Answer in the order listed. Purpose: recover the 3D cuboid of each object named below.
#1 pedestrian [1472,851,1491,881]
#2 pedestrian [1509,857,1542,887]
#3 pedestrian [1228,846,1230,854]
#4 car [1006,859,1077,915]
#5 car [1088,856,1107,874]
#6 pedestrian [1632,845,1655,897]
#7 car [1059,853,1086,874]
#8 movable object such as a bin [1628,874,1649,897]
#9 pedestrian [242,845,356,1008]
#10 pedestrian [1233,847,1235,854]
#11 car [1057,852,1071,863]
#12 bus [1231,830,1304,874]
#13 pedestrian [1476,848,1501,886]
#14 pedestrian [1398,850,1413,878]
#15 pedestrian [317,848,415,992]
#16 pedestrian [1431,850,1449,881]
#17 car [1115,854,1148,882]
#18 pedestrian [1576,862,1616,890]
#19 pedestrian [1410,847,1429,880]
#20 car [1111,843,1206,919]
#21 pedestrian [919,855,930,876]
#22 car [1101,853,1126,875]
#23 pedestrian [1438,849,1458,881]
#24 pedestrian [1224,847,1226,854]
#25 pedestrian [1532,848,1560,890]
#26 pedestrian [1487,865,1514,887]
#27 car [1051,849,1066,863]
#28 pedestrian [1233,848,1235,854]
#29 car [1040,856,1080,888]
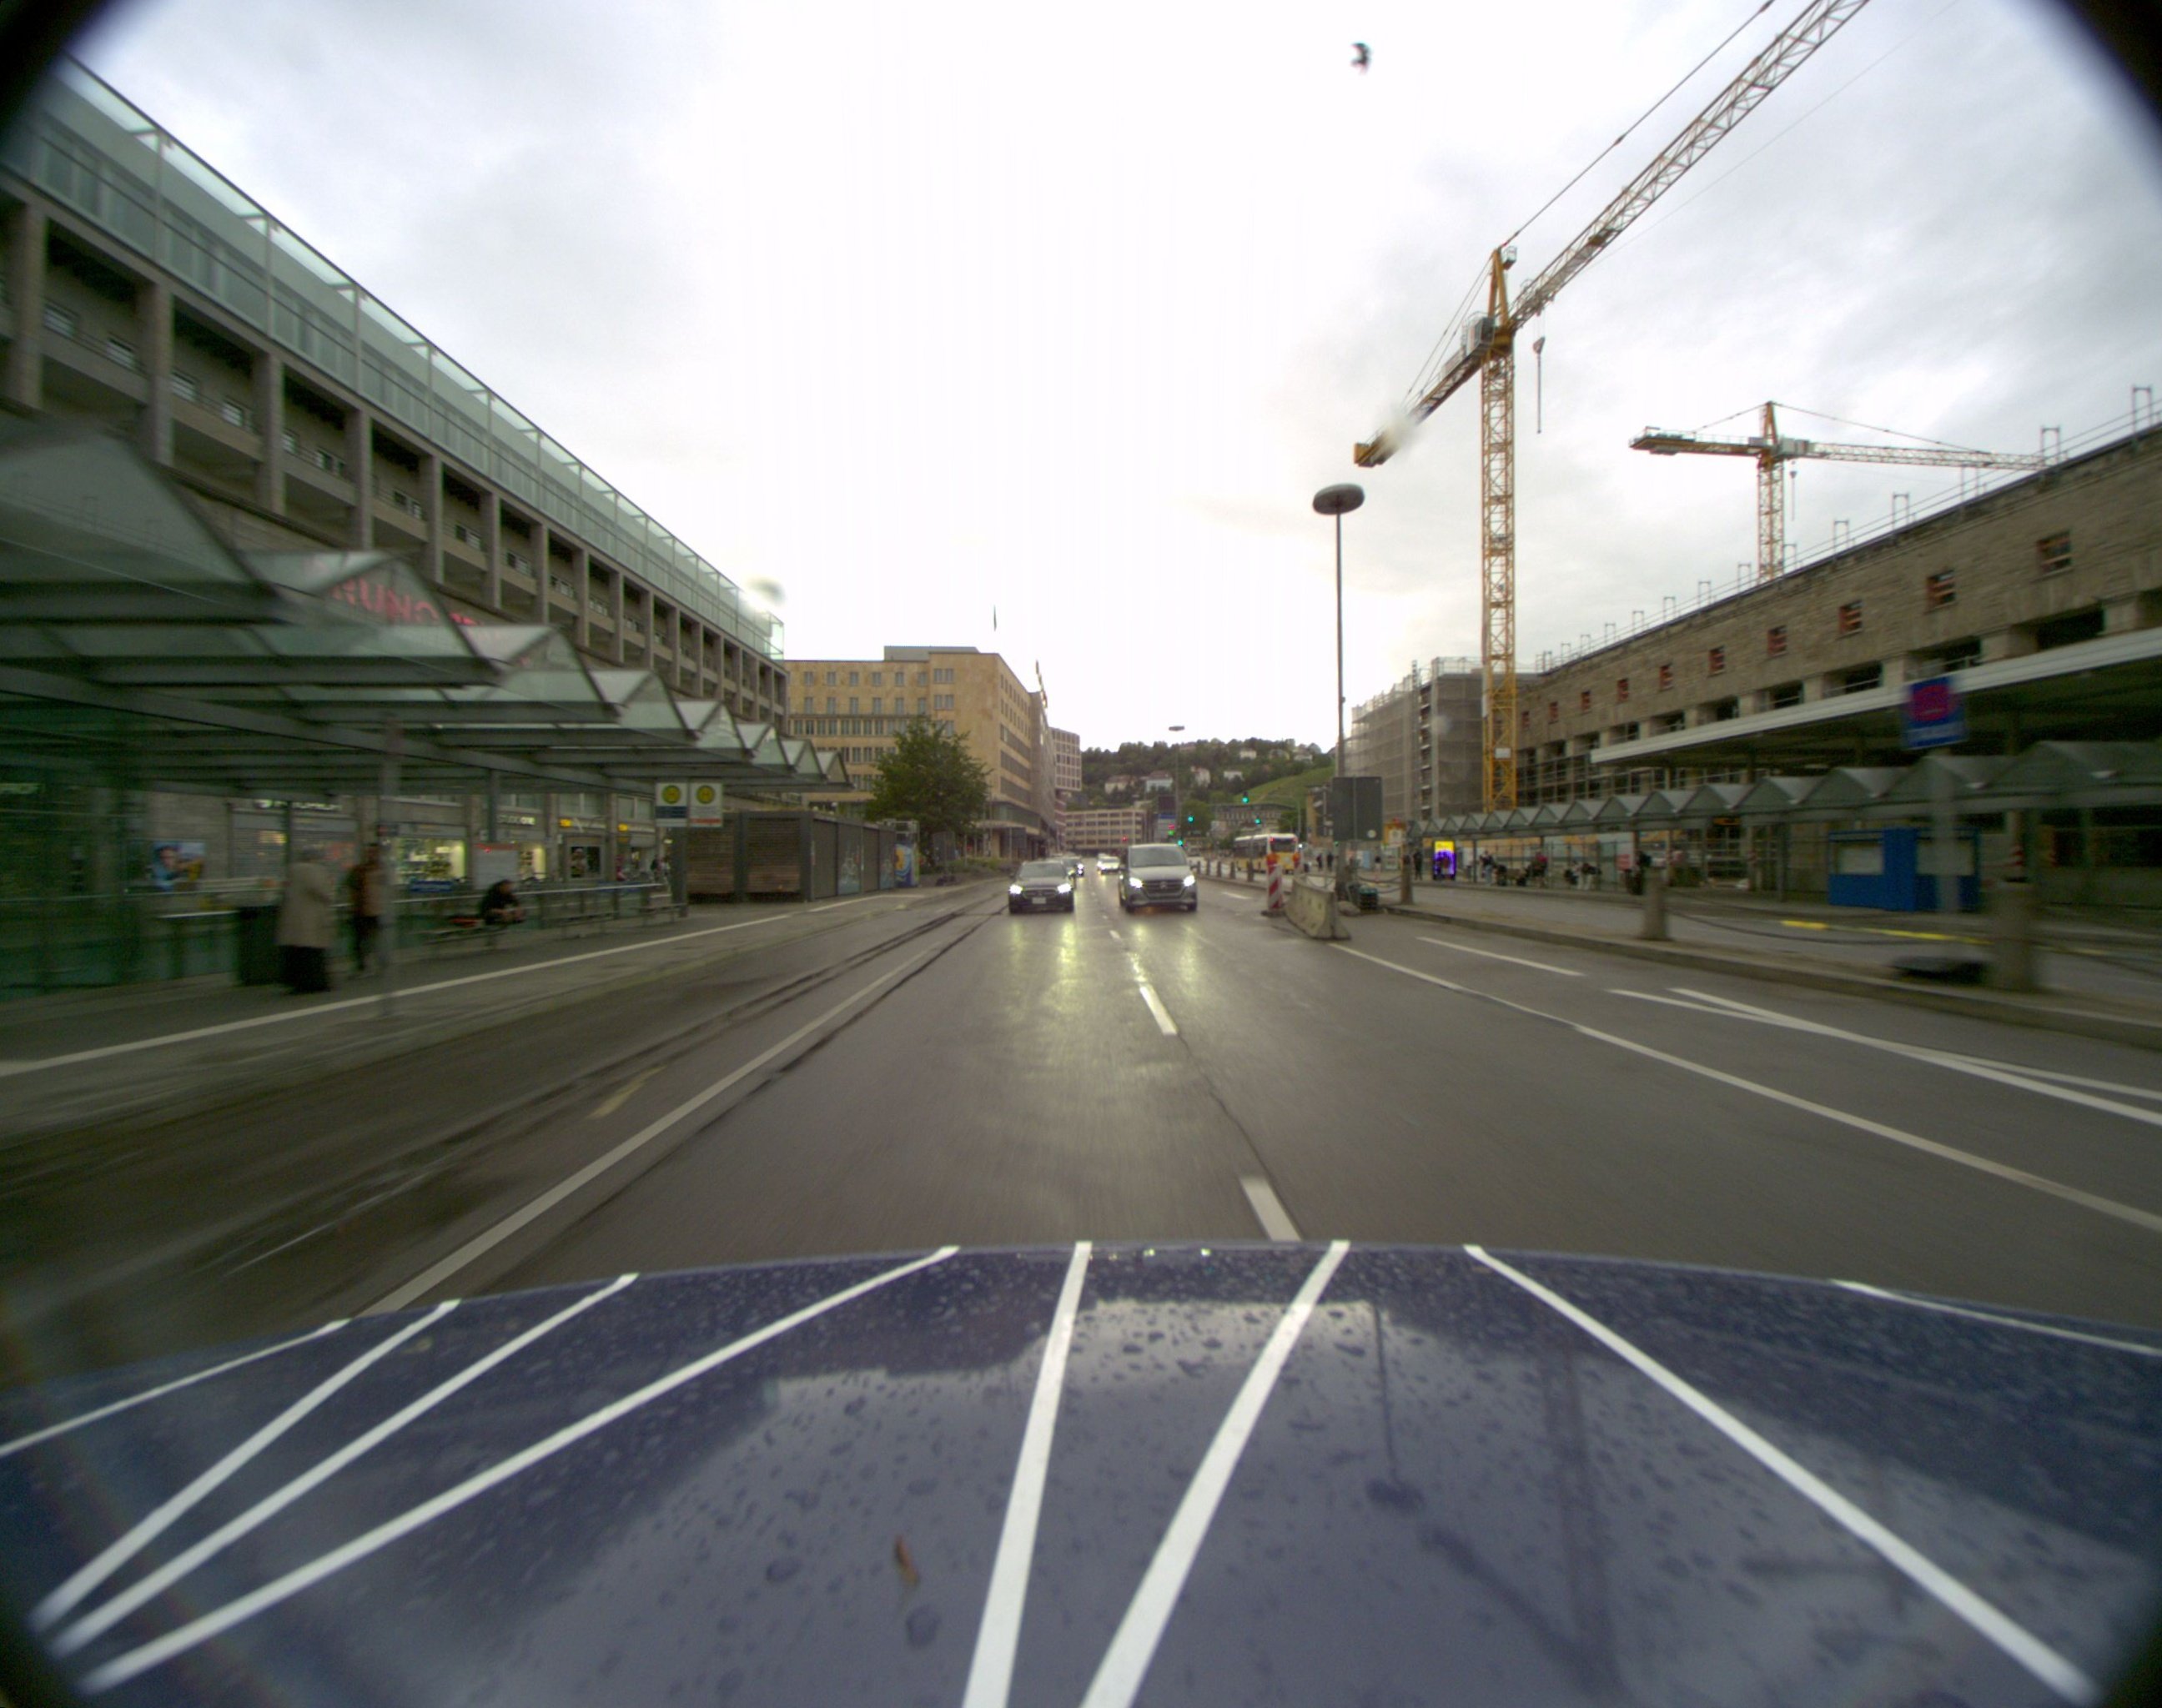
[{"bbox_3d":[22.180,0.673,42.078,0.557,1.621,0.804,-1,1,-9],"label":"pedestrian"},{"bbox_3d":[21.480,0.873,36.735,1.057,1.424,0.831,-1,1,-2],"label":"pedestrian"},{"bbox_3d":[31.827,-0.841,163.139,0.375,1.606,0.357,-1,1,1],"label":"pedestrian"},{"bbox_3d":[-1.116,0.927,23.424,1.823,1.455,4.700,-2,0,1],"label":"car"},{"bbox_3d":[1.715,1.144,81.450,1.872,1.715,3.901,-2,1,0],"label":"car"},{"bbox_3d":[20.367,0.599,27.505,0.679,1.837,0.556,-2,1,-45],"label":"pedestrian"},{"bbox_3d":[-0.624,0.721,60.522,1.998,1.548,3.908,-1,0,1],"label":"car"},{"bbox_3d":[19.868,1.118,27.088,0.510,0.785,0.635,1,1,45],"label":"movable object such as a bin"},{"bbox_3d":[-9.051,0.815,8.816,0.677,1.826,0.574,-1,1,1],"label":"pedestrian"},{"bbox_3d":[31.137,-0.687,154.446,0.438,1.344,0.413,-1,1,10],"label":"pedestrian"},{"bbox_3d":[-2.576,0.545,115.335,1.998,1.644,5.135,-1,0,1],"label":"car"},{"bbox_3d":[17.324,-0.222,72.333,2.916,3.557,19.079,0,0,2],"label":"bus"},{"bbox_3d":[19.486,0.627,36.305,0.777,1.780,0.861,-1,1,7],"label":"pedestrian"},{"bbox_3d":[20.730,0.636,48.544,0.700,1.780,0.795,-1,1,12],"label":"pedestrian"},{"bbox_3d":[-9.370,0.841,9.978,0.629,1.826,0.641,-1,1,2],"label":"pedestrian"},{"bbox_3d":[20.744,0.669,43.920,0.557,1.780,0.804,-1,1,-9],"label":"pedestrian"},{"bbox_3d":[2.976,0.799,45.158,1.709,1.485,3.670,-2,1,0],"label":"car"},{"bbox_3d":[21.651,0.915,31.960,0.952,1.151,1.055,-1,0,0],"label":"pedestrian"},{"bbox_3d":[20.122,0.545,45.199,0.761,1.947,0.822,-1,1,-3],"label":"pedestrian"},{"bbox_3d":[2.113,0.684,22.257,1.999,1.893,5.249,-2,0,-2],"label":"car"},{"bbox_3d":[-13.131,0.961,63.793,0.699,1.741,0.837,-1,1,-2],"label":"pedestrian"},{"bbox_3d":[2.714,0.833,64.888,1.872,1.747,3.901,-2,1,0],"label":"car"},{"bbox_3d":[20.442,0.611,42.317,0.726,1.780,0.747,-1,1,-6],"label":"pedestrian"},{"bbox_3d":[33.926,-0.830,178.560,0.438,1.492,0.414,-1,1,14],"label":"pedestrian"},{"bbox_3d":[20.173,0.645,32.966,0.673,1.780,0.781,-1,1,-30],"label":"pedestrian"},{"bbox_3d":[21.402,1.095,38.754,0.846,1.087,0.926,-1,0,-2],"label":"pedestrian"},{"bbox_3d":[-3.190,0.291,108.416,1.998,1.873,4.997,-1,0,1],"label":"car"},{"bbox_3d":[32.782,-0.663,162.873,0.438,1.233,0.413,-1,1,4],"label":"pedestrian"},{"bbox_3d":[-1.022,0.901,39.157,1.876,1.499,4.164,-1,0,1],"label":"car"}]
